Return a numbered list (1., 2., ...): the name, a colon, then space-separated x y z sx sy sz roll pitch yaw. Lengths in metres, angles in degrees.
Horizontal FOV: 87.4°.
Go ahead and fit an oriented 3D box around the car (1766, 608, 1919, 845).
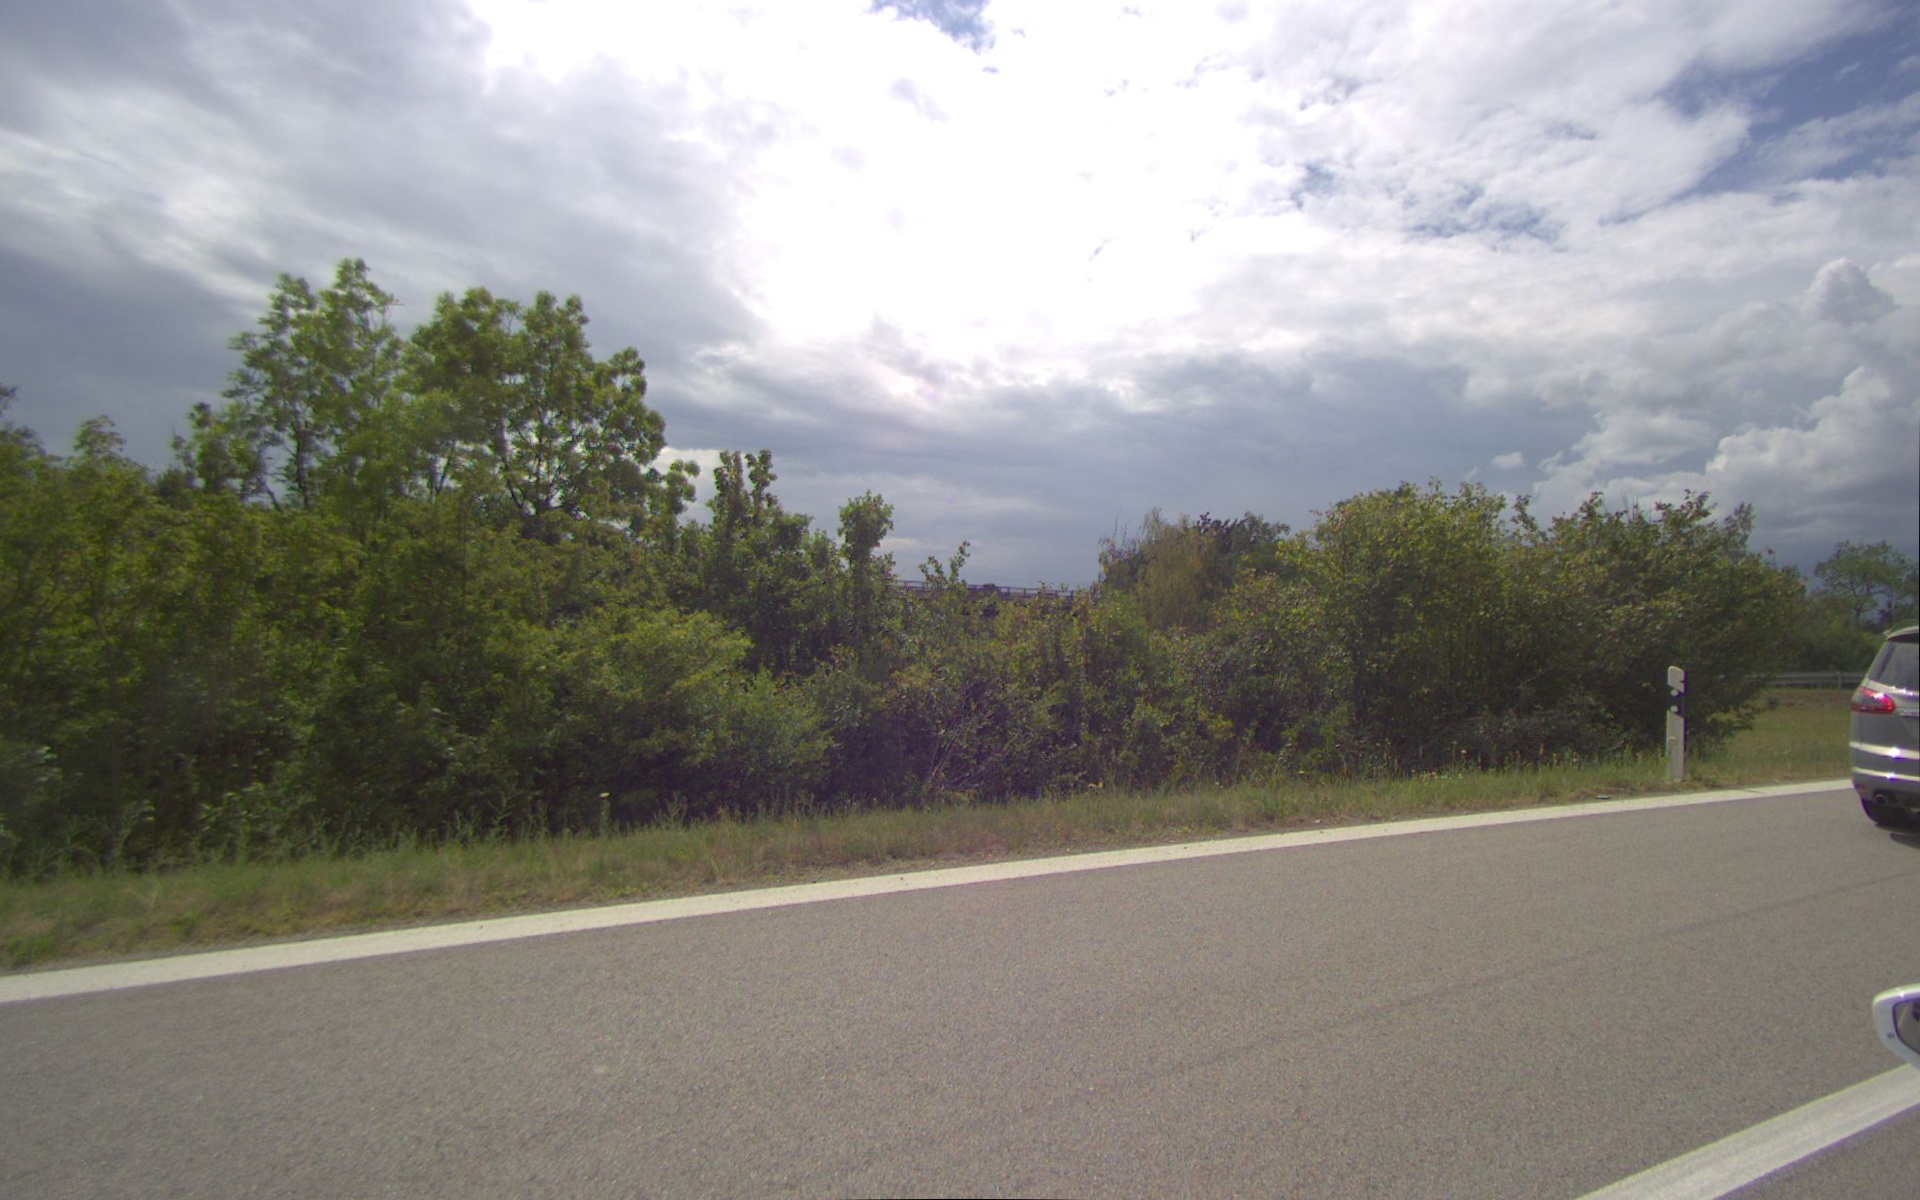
1. car: 8.606 0.924 7.528 4.519 1.598 2.018 2 -2 -21
